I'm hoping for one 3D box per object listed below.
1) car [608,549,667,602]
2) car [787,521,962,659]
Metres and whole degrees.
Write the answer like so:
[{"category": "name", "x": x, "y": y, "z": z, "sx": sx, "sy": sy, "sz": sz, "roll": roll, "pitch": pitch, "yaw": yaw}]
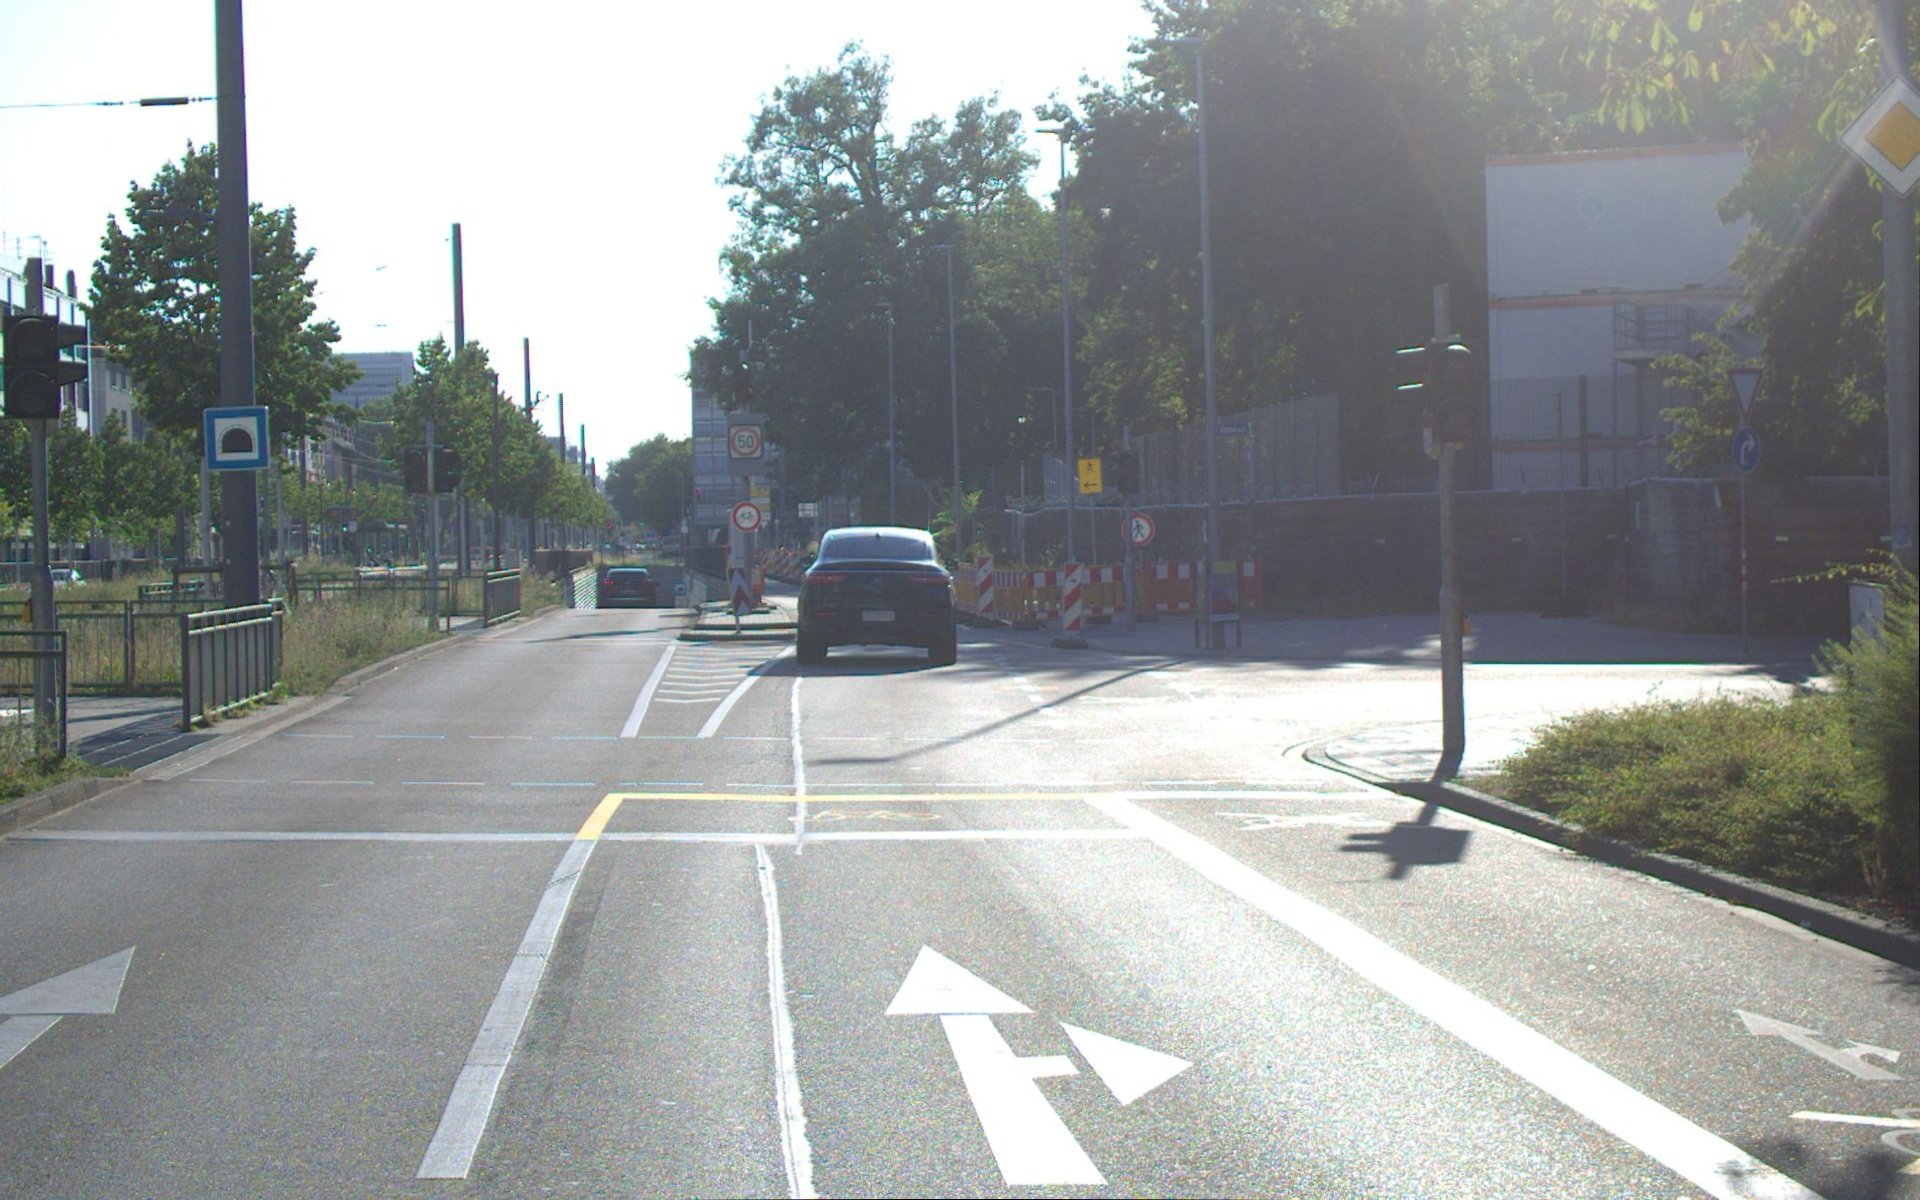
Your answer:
[{"category": "car", "x": -10.449, "y": -0.790, "z": 111.453, "sx": 1.826, "sy": 1.653, "sz": 4.001, "roll": 1, "pitch": 0, "yaw": -5}, {"category": "car", "x": -1.147, "y": -0.138, "z": 44.091, "sx": 2.005, "sy": 1.653, "sz": 4.001, "roll": 1, "pitch": 0, "yaw": -5}]
